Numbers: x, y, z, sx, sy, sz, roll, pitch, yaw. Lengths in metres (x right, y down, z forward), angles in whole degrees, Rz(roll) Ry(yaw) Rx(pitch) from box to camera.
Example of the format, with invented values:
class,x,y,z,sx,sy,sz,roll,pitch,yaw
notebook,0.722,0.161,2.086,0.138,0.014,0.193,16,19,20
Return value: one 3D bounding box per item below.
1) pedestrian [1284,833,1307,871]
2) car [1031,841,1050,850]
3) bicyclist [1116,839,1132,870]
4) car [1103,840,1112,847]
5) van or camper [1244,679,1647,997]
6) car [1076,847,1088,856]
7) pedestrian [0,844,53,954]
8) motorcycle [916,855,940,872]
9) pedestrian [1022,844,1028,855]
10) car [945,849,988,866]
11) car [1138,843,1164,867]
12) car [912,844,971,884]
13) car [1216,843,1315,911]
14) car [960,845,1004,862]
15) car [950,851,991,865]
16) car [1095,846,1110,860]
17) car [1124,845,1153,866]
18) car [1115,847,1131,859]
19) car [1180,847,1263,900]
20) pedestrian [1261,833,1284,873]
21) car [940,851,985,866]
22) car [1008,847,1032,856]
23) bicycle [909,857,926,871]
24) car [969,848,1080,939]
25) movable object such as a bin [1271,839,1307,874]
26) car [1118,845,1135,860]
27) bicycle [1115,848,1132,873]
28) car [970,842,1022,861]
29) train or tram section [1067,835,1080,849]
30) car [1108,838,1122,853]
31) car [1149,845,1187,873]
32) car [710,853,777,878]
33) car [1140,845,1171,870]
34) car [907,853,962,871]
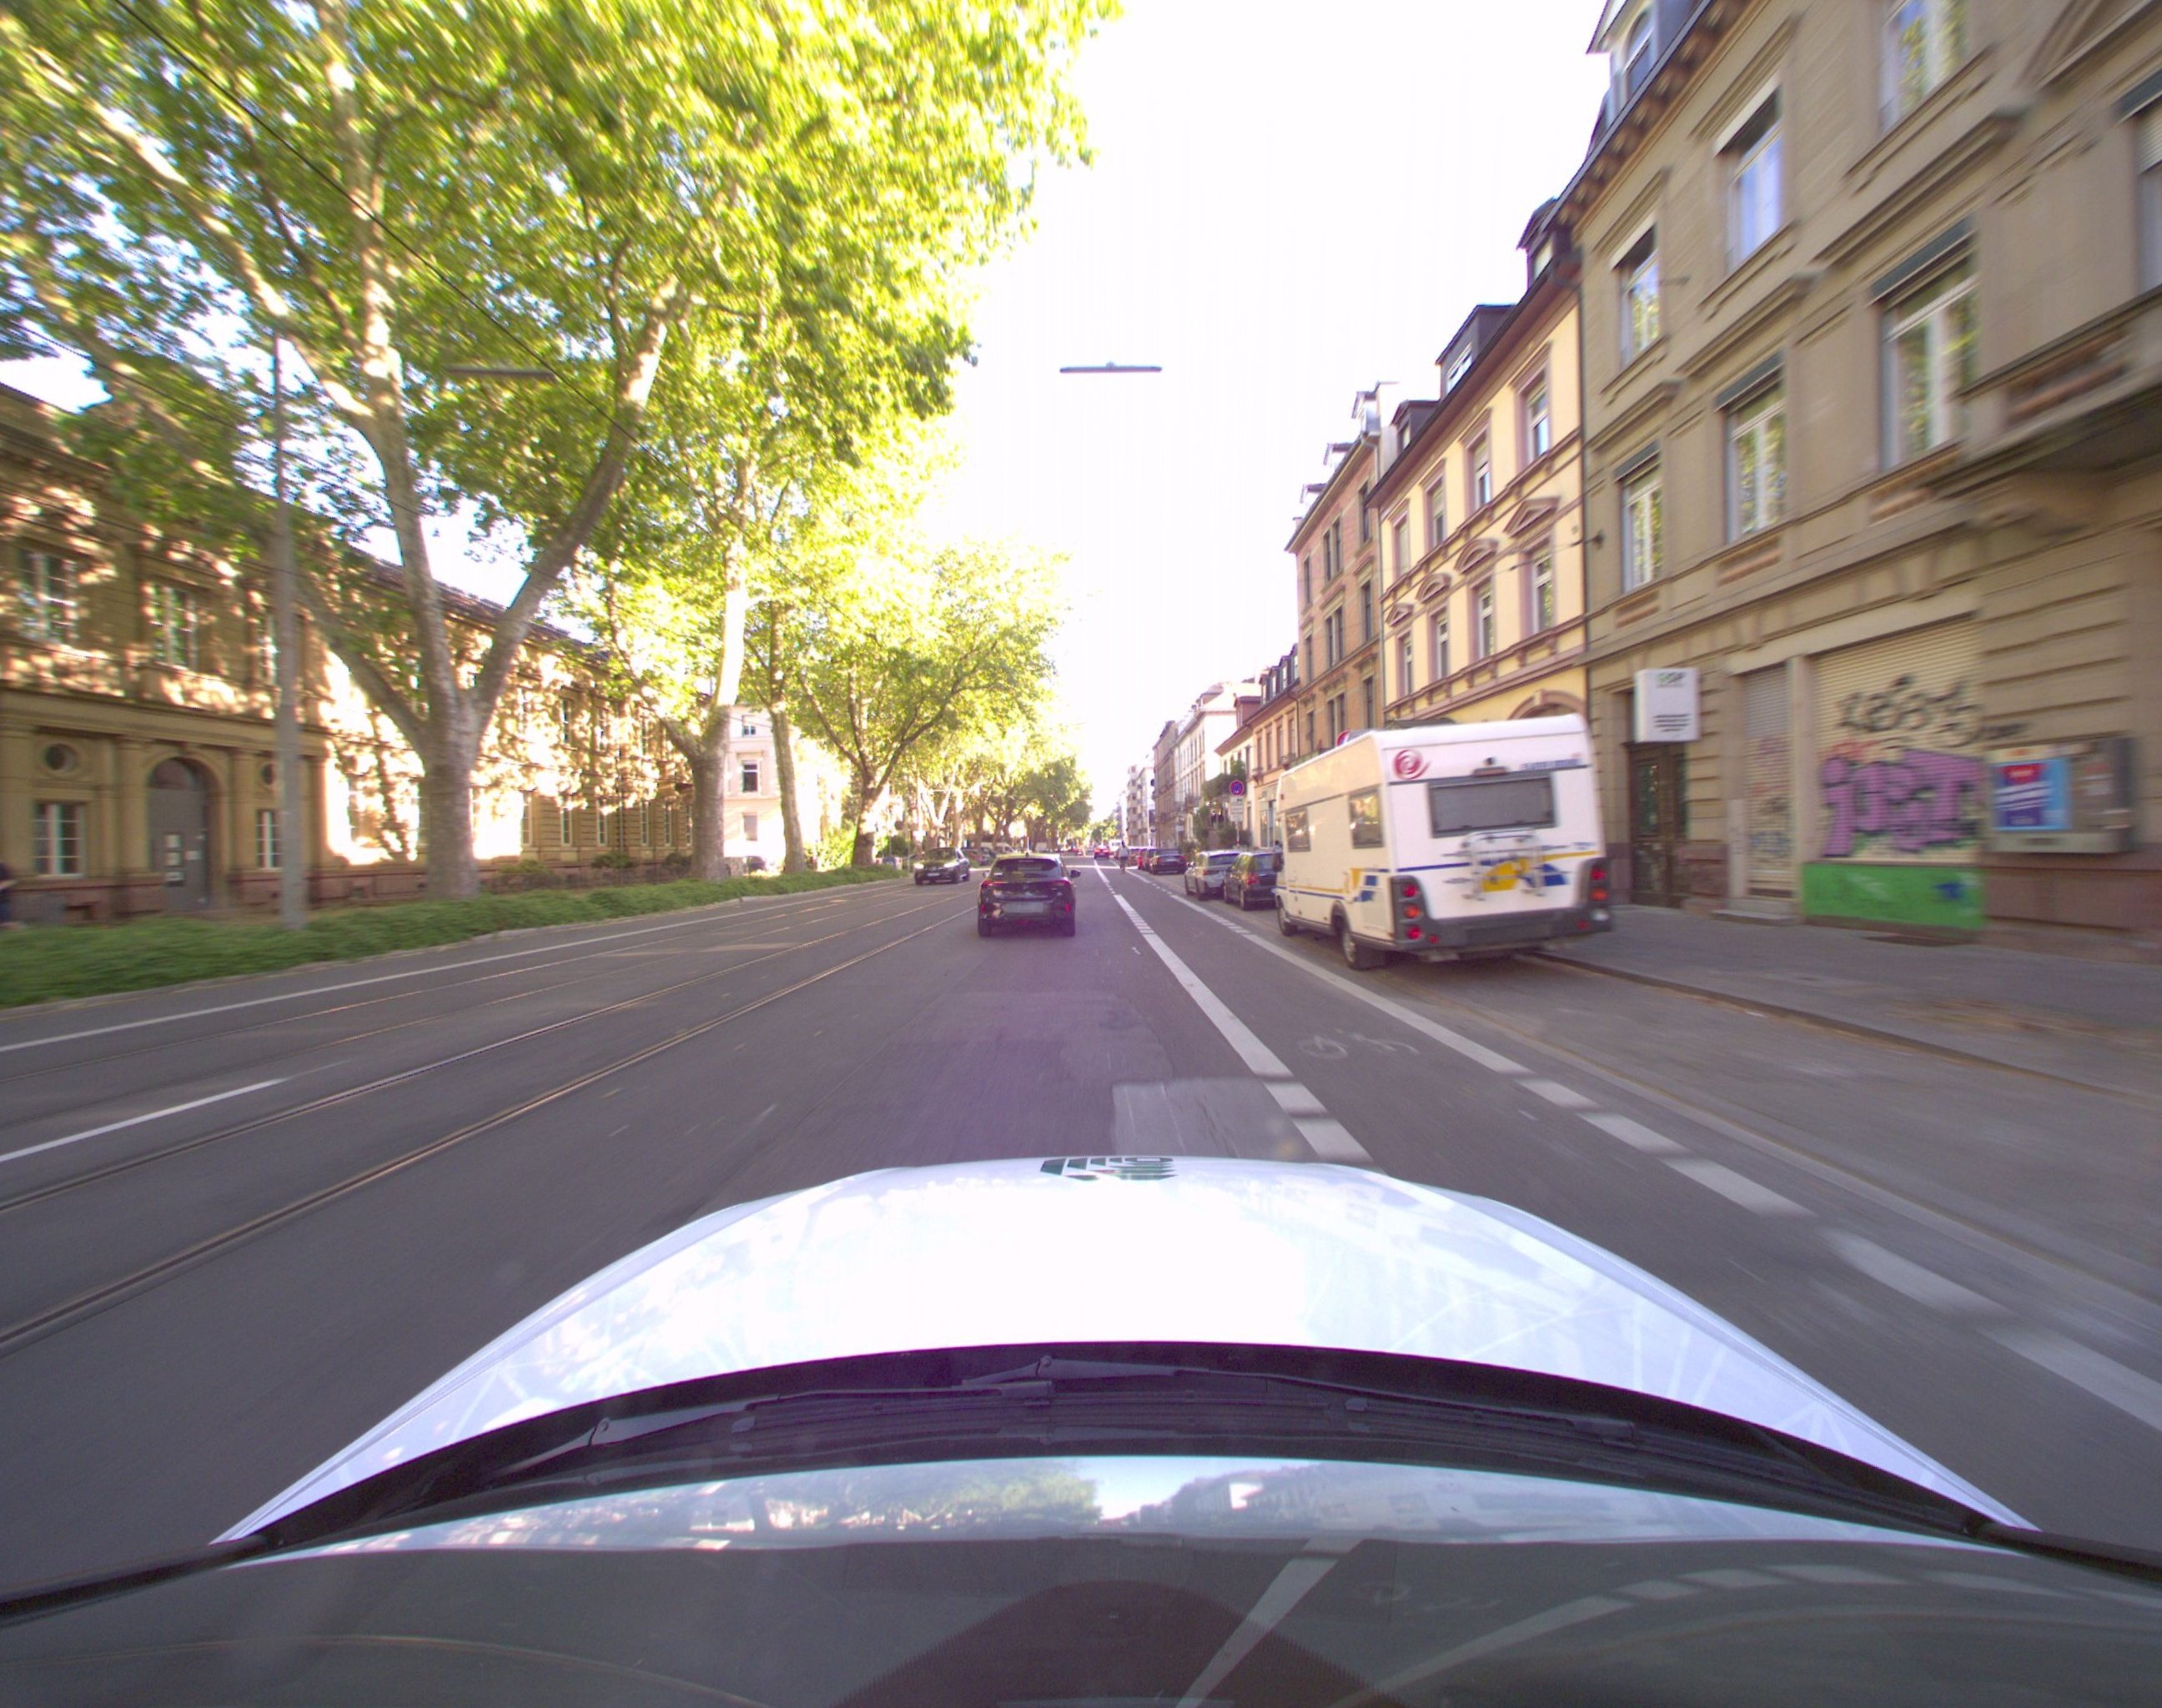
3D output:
class,x,y,z,sx,sy,sz,roll,pitch,yaw
pedestrian,8.386,-0.075,31.843,0.655,1.483,0.785,-1,0,0
car,-8.437,-1.682,168.327,3.910,1.790,1.676,0,0,-3
bicyclist,2.471,0.017,47.439,0.845,1.740,1.161,-1,0,-1
car,6.038,-2.382,184.905,1.803,1.338,3.935,-5,0,2
van or camper,4.402,-0.179,12.027,2.468,2.971,7.888,-4,0,2
car,0.194,-0.409,131.883,1.803,1.338,3.935,-1,0,2
pedestrian,-18.504,0.760,13.949,0.718,1.849,0.836,-1,0,-7
motorcycle,-10.674,0.650,57.041,0.879,1.147,2.396,-1,1,8
pedestrian,-8.642,-0.702,125.325,0.770,1.567,0.675,-1,0,-24
car,-11.212,0.360,79.946,3.981,1.627,1.879,0,0,0
car,4.834,0.081,56.549,1.628,1.546,3.577,-2,0,2
car,-6.322,0.417,37.399,1.860,1.629,4.560,-1,1,0
car,4.576,0.519,20.739,1.638,1.434,4.031,-4,0,2
car,-11.087,-0.039,91.774,4.657,1.923,1.981,0,0,1
car,-11.187,0.419,82.350,3.908,1.421,1.818,0,0,-1
car,2.783,-0.189,105.294,1.803,1.742,3.935,-1,0,2
car,4.786,0.110,67.964,1.876,1.586,3.929,-5,0,-3
car,5.194,-0.089,101.381,1.803,1.338,3.935,-5,0,2
car,4.294,0.539,25.584,1.804,1.435,4.665,-2,0,0
pedestrian,7.502,-0.041,31.889,0.658,1.505,0.866,-2,0,0
car,-11.282,0.438,77.698,3.906,1.442,1.749,0,0,0
car,-10.283,-0.442,137.869,3.910,1.498,1.676,0,0,-3
bicycle,-11.637,0.714,57.931,0.538,0.940,2.039,-1,1,8
car,-0.931,0.643,15.270,1.788,1.441,3.531,-1,1,0
movable object such as a bin,9.265,0.109,36.377,1.289,1.520,1.286,-1,0,0
car,5.087,-0.135,92.023,1.563,1.517,3.038,-4,0,-2
bicycle,2.473,0.339,47.393,0.858,1.407,2.523,-1,0,0
car,-11.107,-0.280,106.875,6.605,2.409,2.458,0,0,0
train or tram section,-2.030,-3.222,218.211,2.724,3.681,12.722,-2,0,2
car,5.622,-1.427,134.672,2.068,2.219,4.935,-4,0,2
car,4.724,0.261,44.615,1.687,1.392,4.497,-2,0,2
car,-22.928,0.778,55.465,3.763,1.418,1.695,-2,3,1
car,4.724,0.212,52.125,1.645,1.456,3.869,-2,0,1
car,-11.457,0.616,63.767,3.906,1.332,1.848,0,0,1
